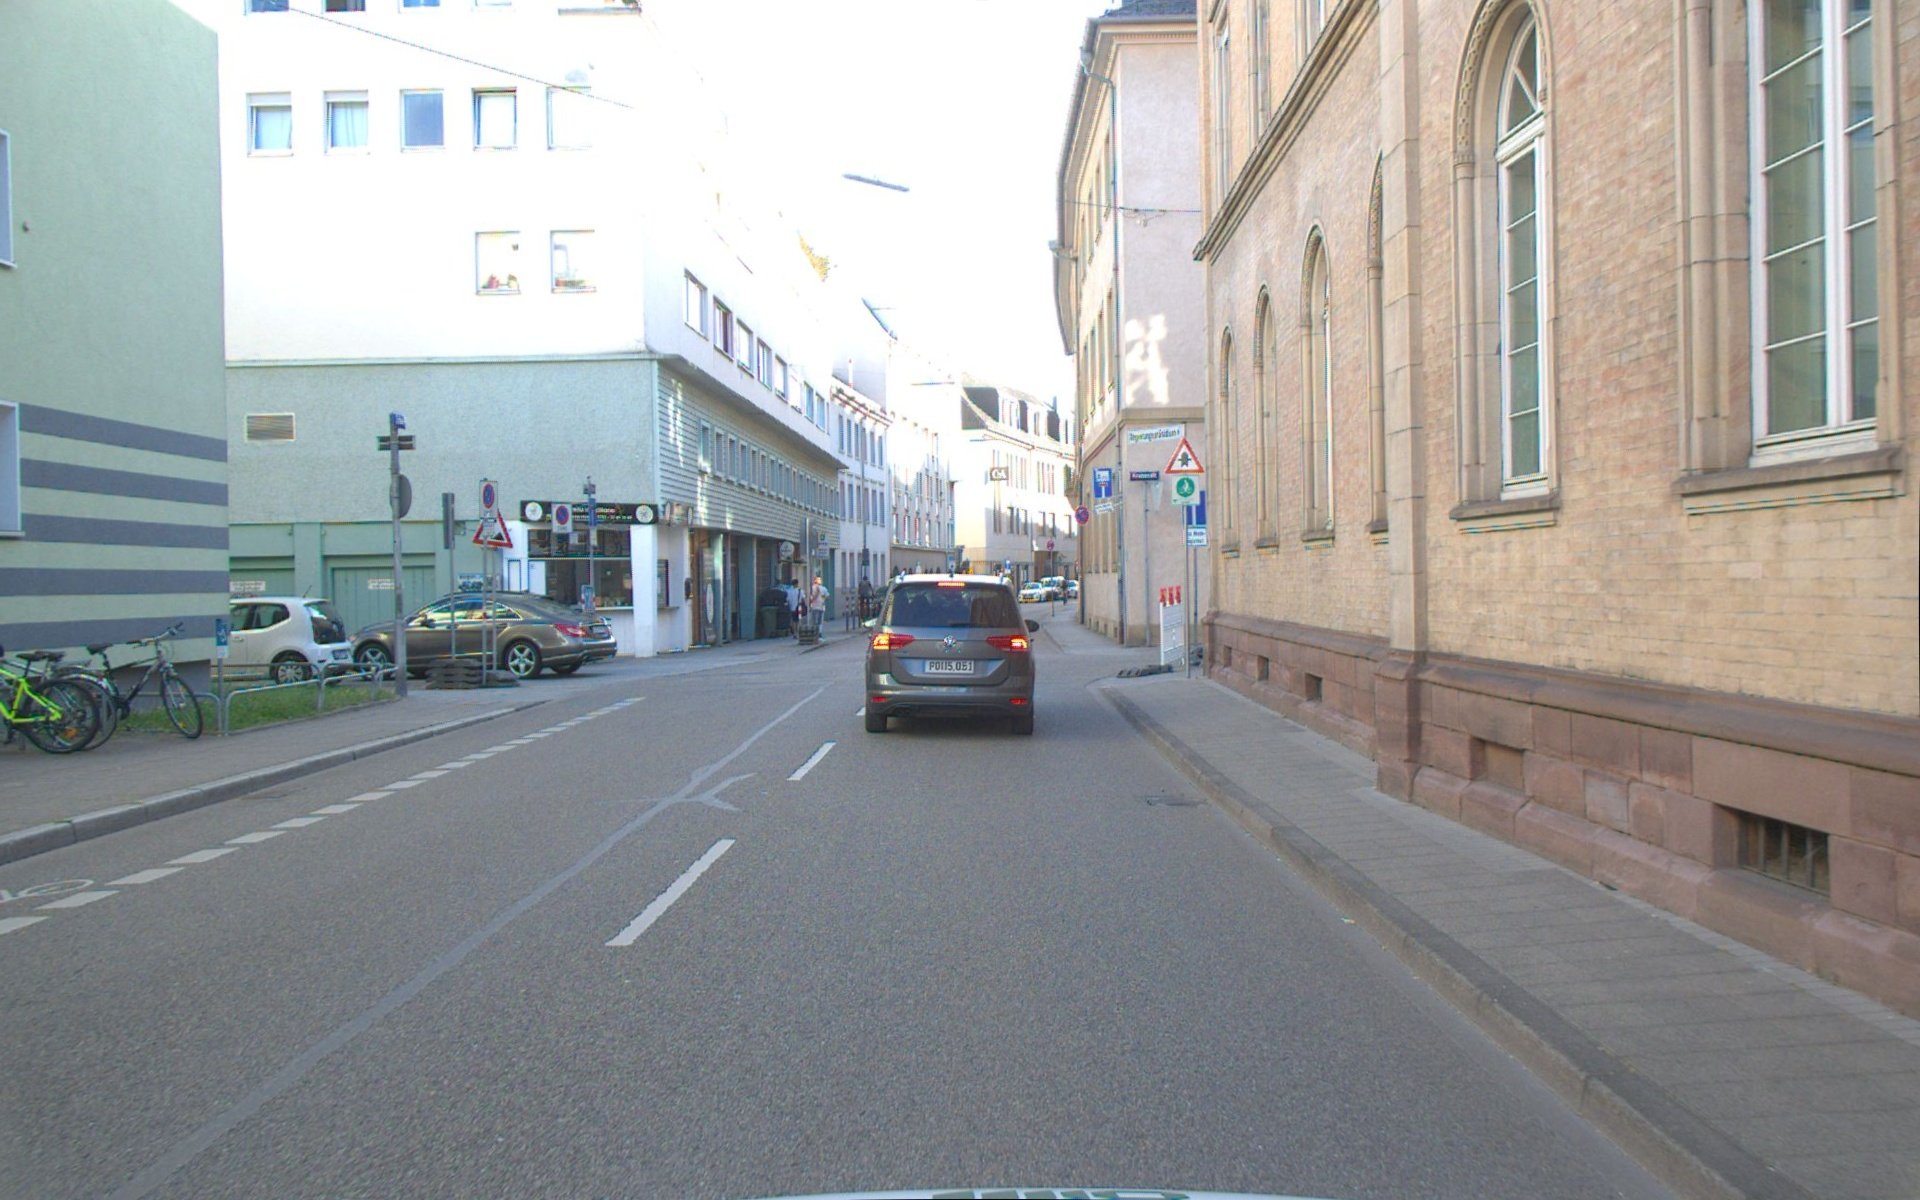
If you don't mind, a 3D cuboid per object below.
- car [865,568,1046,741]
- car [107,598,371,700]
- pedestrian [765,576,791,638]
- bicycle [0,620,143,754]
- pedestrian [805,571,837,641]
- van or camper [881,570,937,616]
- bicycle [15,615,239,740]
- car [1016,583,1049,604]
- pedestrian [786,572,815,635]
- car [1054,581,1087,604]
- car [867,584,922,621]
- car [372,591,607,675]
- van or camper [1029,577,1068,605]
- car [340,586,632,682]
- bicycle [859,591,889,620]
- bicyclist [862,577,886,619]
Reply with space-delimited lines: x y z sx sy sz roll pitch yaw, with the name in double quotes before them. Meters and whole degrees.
"car" -0.023 0.516 18.160 1.726 1.635 4.000 2 0 0
"car" -11.644 0.768 26.867 3.428 1.468 1.814 -2 1 2
"pedestrian" -5.542 0.209 50.431 0.713 1.861 0.557 -1 0 0
"bicycle" -8.681 0.796 15.289 1.897 1.200 0.611 2 0 -16
"pedestrian" -3.718 0.151 44.277 0.544 1.861 0.730 -1 0 24
"van or camper" -2.318 -0.335 76.530 1.951 2.049 4.486 -1 1 6
"bicycle" -8.413 0.776 16.760 1.893 1.200 0.612 2 0 -9
"car" 5.388 -0.464 122.970 1.697 1.493 4.003 -1 1 14
"pedestrian" -4.726 0.102 48.957 0.544 1.861 0.730 -1 0 24
"car" 9.022 -0.618 134.994 1.787 1.756 4.003 -1 1 17
"car" -2.777 0.092 70.798 1.826 1.494 3.836 -1 1 5
"car" -9.244 0.638 32.741 4.013 1.468 1.948 -2 1 2
"van or camper" 6.904 -0.706 128.703 1.951 2.049 5.002 -1 1 16
"car" -8.338 0.580 29.260 4.515 1.568 2.002 -1 1 11
"bicycle" -3.336 0.193 64.144 0.813 1.072 2.551 -1 1 4
"bicyclist" -3.339 -0.084 64.072 0.813 1.589 0.760 -1 1 4
